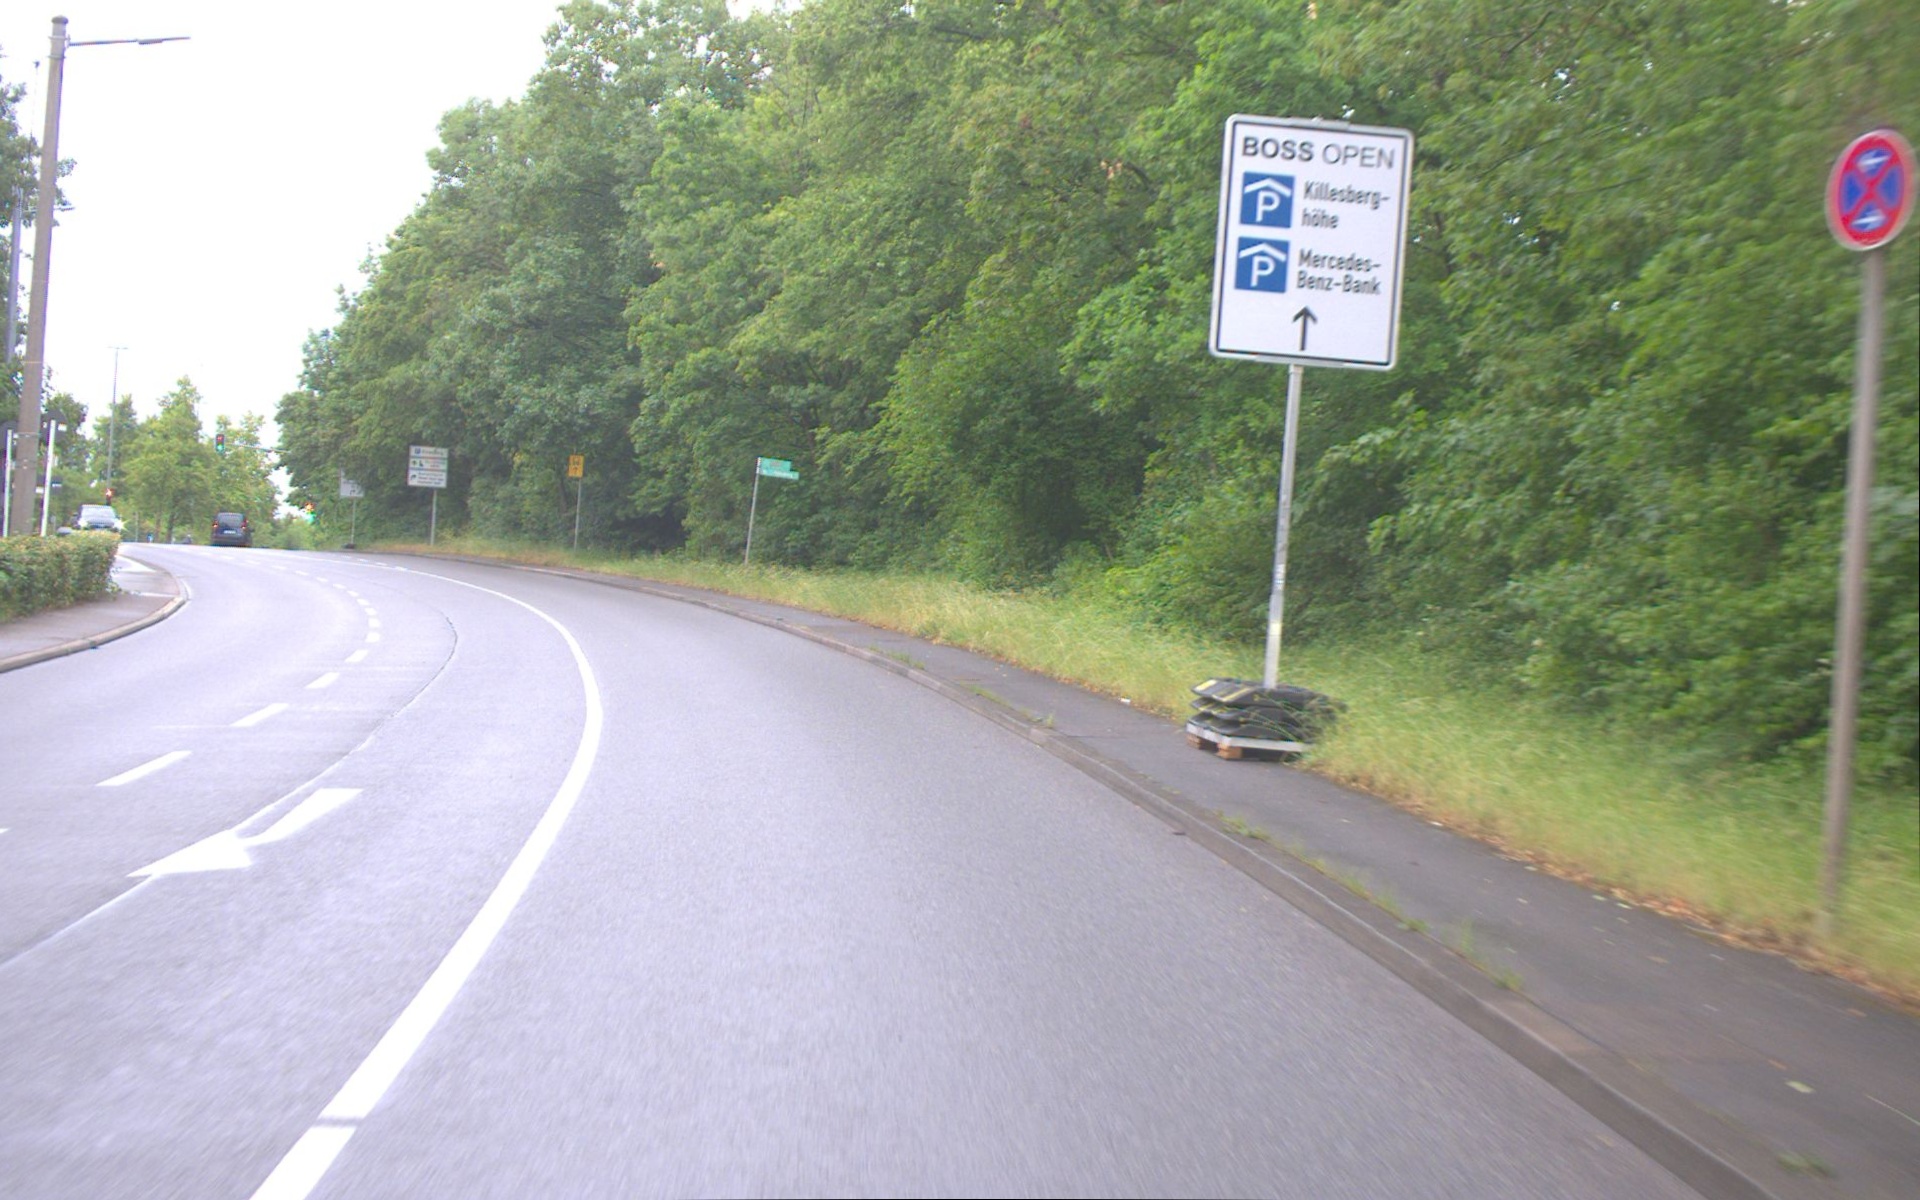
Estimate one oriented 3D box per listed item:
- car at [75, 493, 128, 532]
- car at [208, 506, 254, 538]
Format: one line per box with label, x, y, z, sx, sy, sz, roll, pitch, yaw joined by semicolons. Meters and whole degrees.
car;-34.409;-3.514;137.731;1.934;1.493;4.319;2;1;-15
car;-36.053;-3.877;170.138;1.934;1.493;4.319;2;1;-9
